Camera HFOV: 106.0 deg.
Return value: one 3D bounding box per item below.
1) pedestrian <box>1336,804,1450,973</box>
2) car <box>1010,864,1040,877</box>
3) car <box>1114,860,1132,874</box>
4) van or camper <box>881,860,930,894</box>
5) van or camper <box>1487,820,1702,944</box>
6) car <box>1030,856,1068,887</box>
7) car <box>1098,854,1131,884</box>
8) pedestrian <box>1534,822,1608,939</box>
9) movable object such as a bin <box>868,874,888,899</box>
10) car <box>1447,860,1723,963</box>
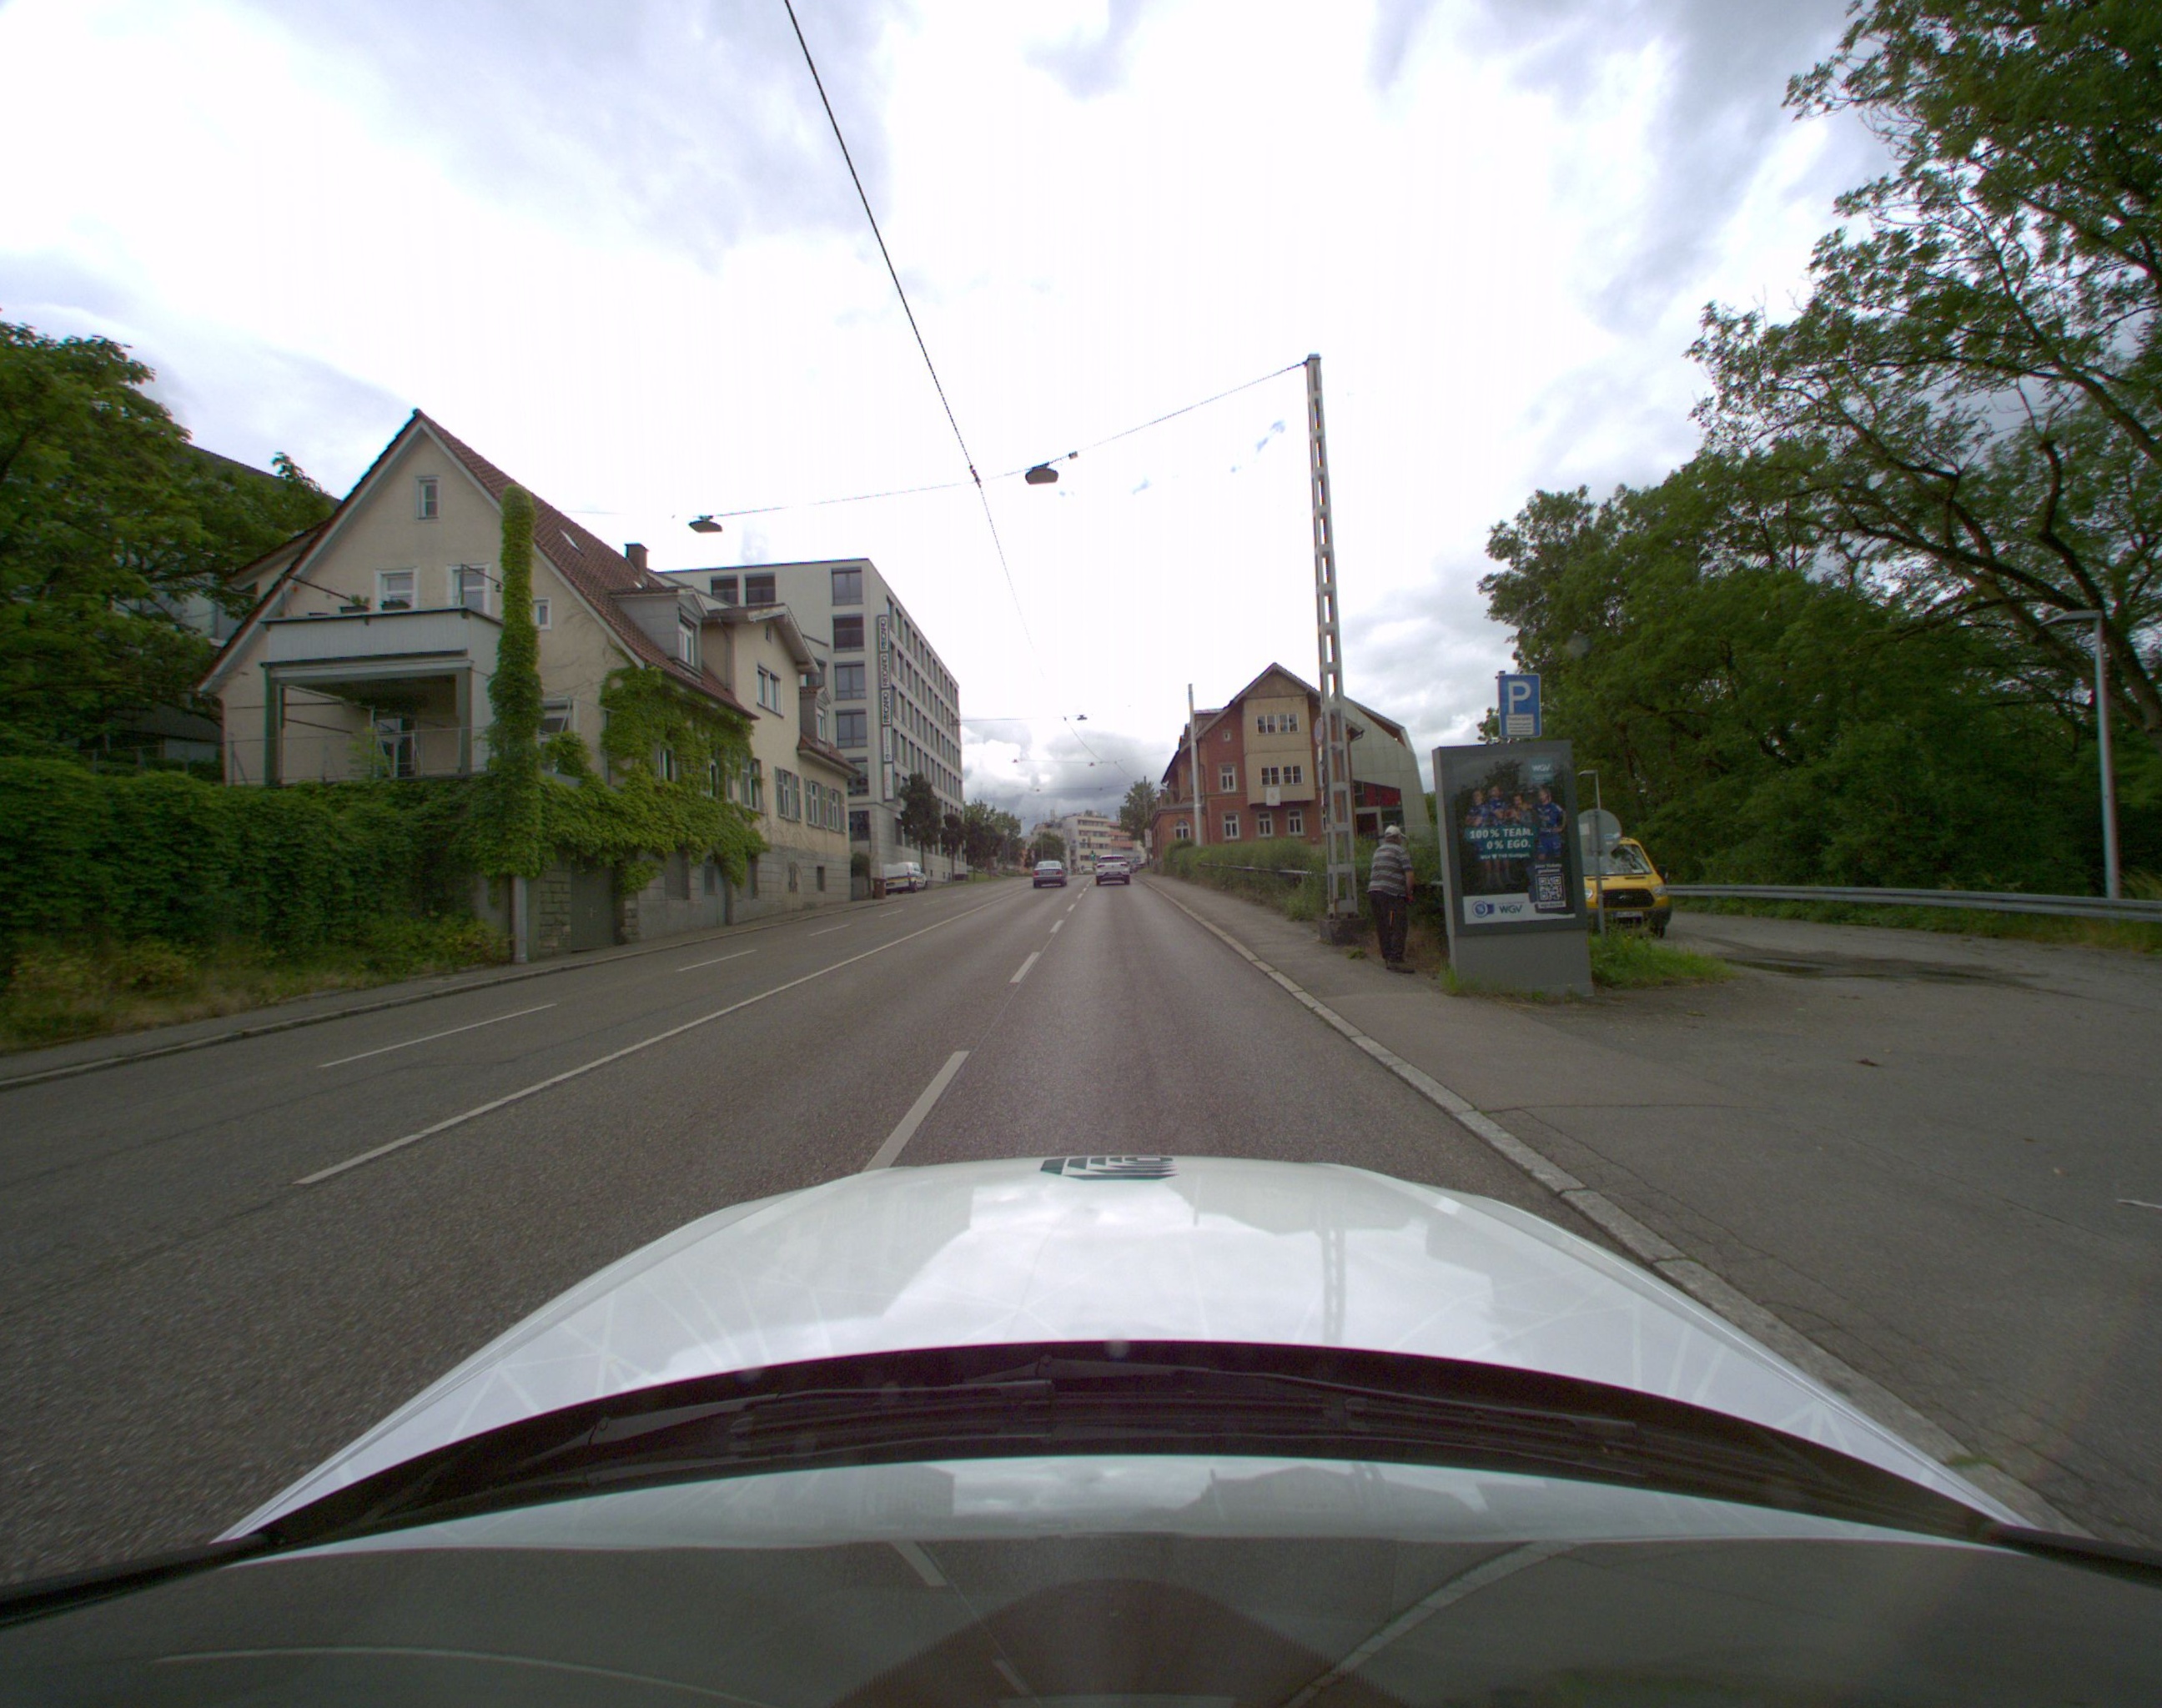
[{"bbox_3d":[3.732,0.398,9.824,0.812,1.884,0.945,-4,0,-9],"label":"pedestrian"},{"bbox_3d":[-7.816,2.320,114.211,4.023,1.544,1.759,-1,-2,-44],"label":"car"},{"bbox_3d":[5.192,1.606,100.409,1.761,1.571,4.292,-3,-1,6],"label":"car"},{"bbox_3d":[-11.410,1.467,53.226,2.054,1.968,4.871,-3,0,-1],"label":"van or camper"},{"bbox_3d":[11.758,0.536,19.326,2.201,2.329,6.200,-4,0,12],"label":"van or camper"},{"bbox_3d":[-1.645,0.911,43.451,1.693,1.516,3.738,-3,0,2],"label":"car"},{"bbox_3d":[1.753,0.768,43.299,1.693,1.548,3.738,0,0,2],"label":"car"},{"bbox_3d":[6.926,0.363,11.539,0.641,1.571,0.587,-4,0,10],"label":"pedestrian"},{"bbox_3d":[-9.968,1.581,40.044,0.808,1.189,0.697,1,-1,-4],"label":"movable object such as a bin"},{"bbox_3d":[7.998,0.879,13.163,3.472,1.541,1.579,0,0,3],"label":"car"}]
